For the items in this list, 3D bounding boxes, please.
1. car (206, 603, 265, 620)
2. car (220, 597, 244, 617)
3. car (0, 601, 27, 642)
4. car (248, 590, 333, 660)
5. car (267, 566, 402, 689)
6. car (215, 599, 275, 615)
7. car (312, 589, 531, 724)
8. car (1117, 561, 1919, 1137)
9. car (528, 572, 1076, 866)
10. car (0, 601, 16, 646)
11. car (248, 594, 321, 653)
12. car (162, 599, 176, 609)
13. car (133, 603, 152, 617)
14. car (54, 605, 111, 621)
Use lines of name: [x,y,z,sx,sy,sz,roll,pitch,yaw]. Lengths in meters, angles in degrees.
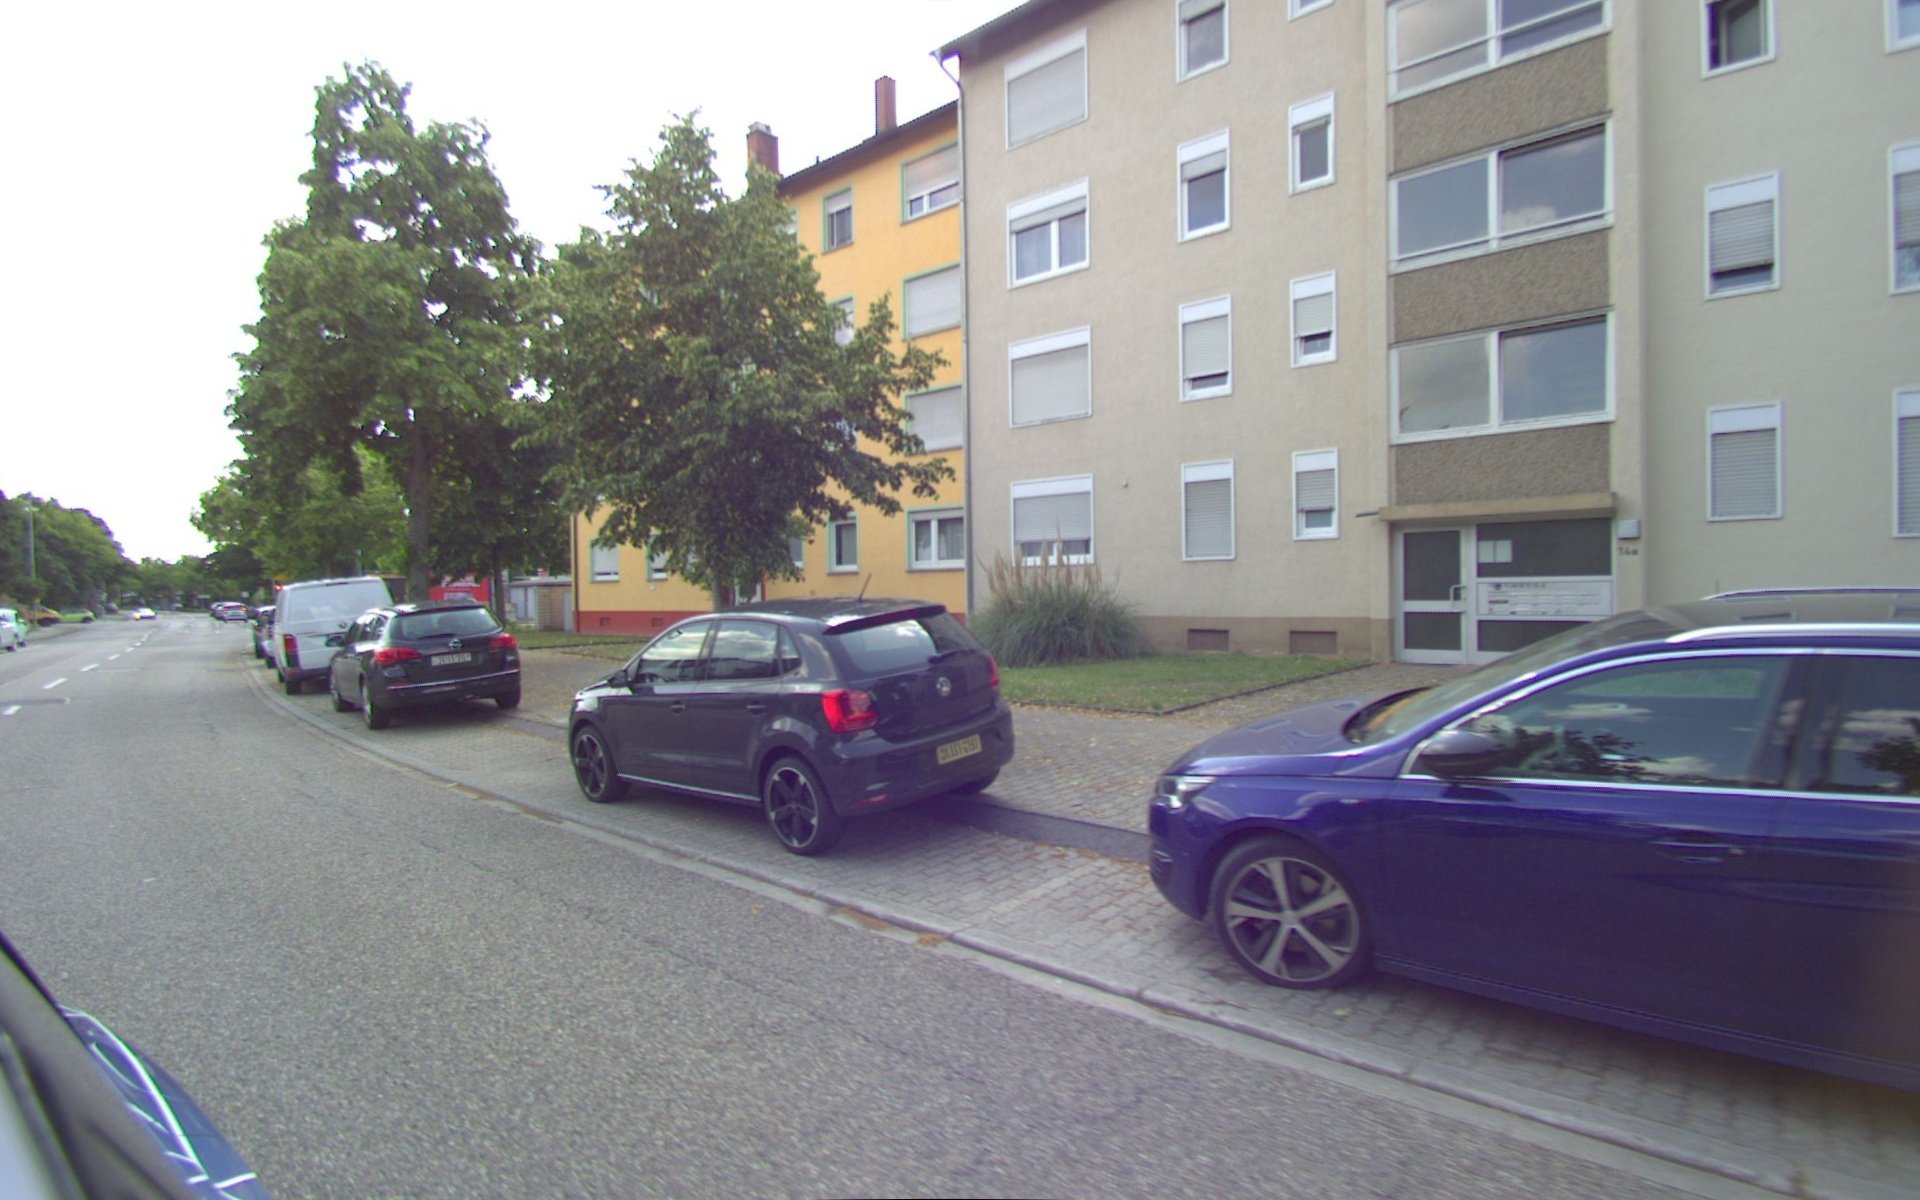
car: [-71.461,1.085,99.911,1.728,1.533,4.472,-1,1,42]
car: [-58.661,0.525,81.502,1.534,1.528,3.617,-1,1,-36]
car: [-38.132,0.839,39.865,1.560,1.531,3.764,-1,0,-36]
car: [-17.842,0.631,26.903,1.498,1.560,3.763,-8,4,-37]
car: [-12.108,0.462,19.412,1.854,2.024,5.335,-1,0,-35]
car: [-68.873,0.669,97.563,1.728,1.469,4.472,-1,1,42]
car: [-7.460,0.644,13.786,1.738,1.500,4.512,-2,1,-40]
car: [2.966,0.638,3.448,4.567,1.500,1.743,1,3,40]
car: [-1.332,0.632,7.325,4.032,1.500,1.742,-1,2,42]
car: [-33.285,0.805,33.957,1.698,1.497,3.759,-1,0,-33]
car: [-20.702,0.658,31.017,1.661,1.497,3.995,-5,4,-34]
car: [-125.270,0.595,160.247,1.703,1.439,4.008,0,2,-39]
car: [-95.762,1.166,118.525,1.703,1.439,4.008,0,2,-39]
car: [-85.172,1.213,98.269,1.730,1.439,3.946,2,2,40]
